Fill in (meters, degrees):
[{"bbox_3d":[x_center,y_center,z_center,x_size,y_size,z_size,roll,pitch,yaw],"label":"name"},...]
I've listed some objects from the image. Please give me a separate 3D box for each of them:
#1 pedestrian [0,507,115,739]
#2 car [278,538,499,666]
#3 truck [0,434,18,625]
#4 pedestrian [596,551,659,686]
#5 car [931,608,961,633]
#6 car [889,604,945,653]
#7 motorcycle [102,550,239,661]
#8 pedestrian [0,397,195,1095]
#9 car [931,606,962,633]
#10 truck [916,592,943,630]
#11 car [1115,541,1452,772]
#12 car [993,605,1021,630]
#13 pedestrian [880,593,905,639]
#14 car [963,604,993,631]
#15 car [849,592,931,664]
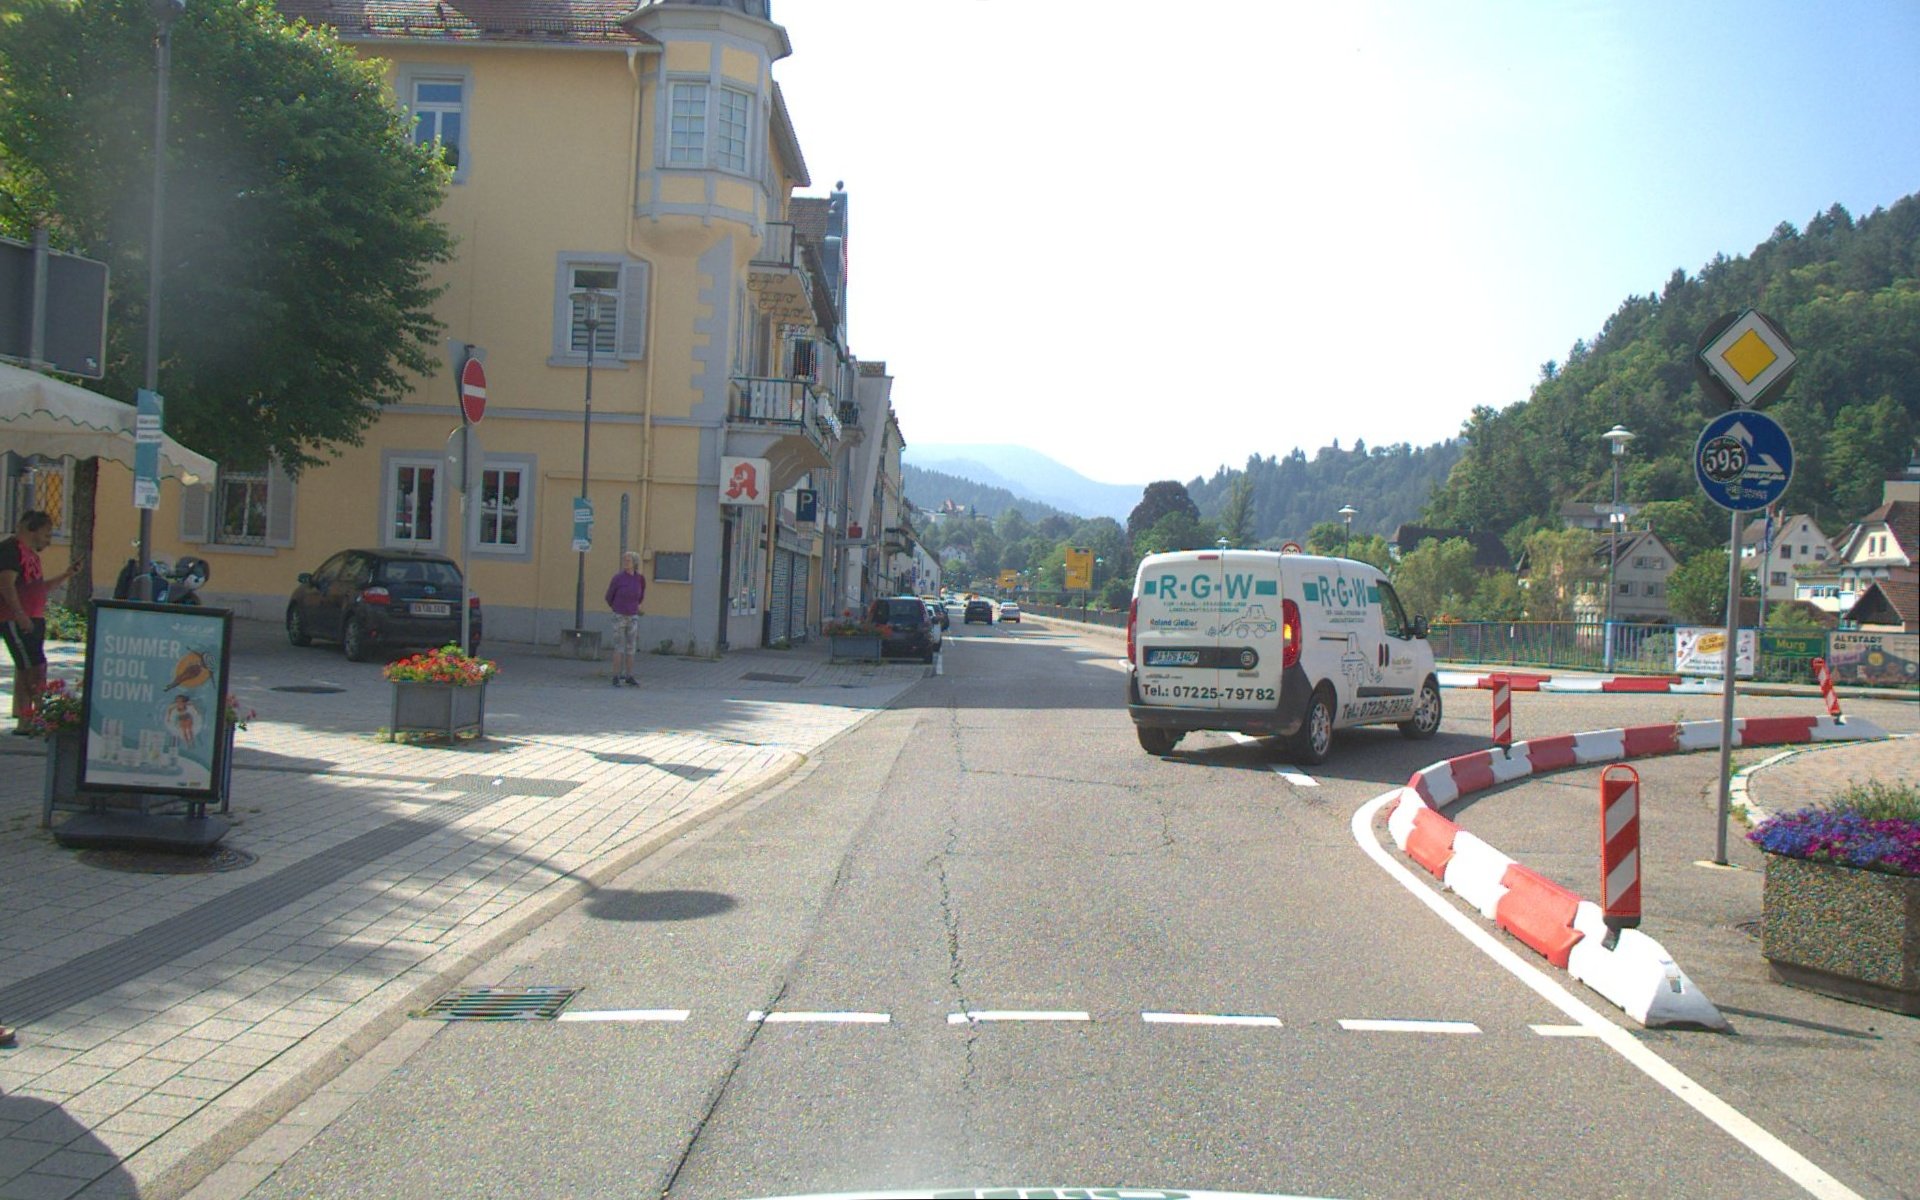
[{"bbox_3d":[-7.023,0.175,12.587,0.558,1.687,0.884,3,-2,6],"label":"pedestrian"},{"bbox_3d":[-8.392,-0.006,24.094,1.902,1.569,3.909,3,2,-37],"label":"car"},{"bbox_3d":[-18.406,-1.260,23.052,8.653,2.805,3.011,3,1,-1],"label":"truck"},{"bbox_3d":[-4.452,0.240,22.182,0.664,1.744,0.617,3,1,-3],"label":"pedestrian"},{"bbox_3d":[-0.786,1.103,89.314,1.532,1.241,3.275,2,0,-1],"label":"car"},{"bbox_3d":[-1.376,0.892,53.072,1.712,1.473,3.793,2,0,-1],"label":"car"},{"bbox_3d":[-10.727,0.040,22.559,0.867,1.384,2.088,2,2,-1],"label":"motorcycle"},{"bbox_3d":[-2.945,0.346,4.595,1.000,1.846,0.905,7,0,31],"label":"pedestrian"},{"bbox_3d":[-0.809,1.111,95.297,1.712,1.473,3.275,2,0,-1],"label":"car"},{"bbox_3d":[-2.056,0.738,111.862,1.712,2.511,4.660,2,0,-1],"label":"truck"},{"bbox_3d":[3.300,0.427,16.191,1.811,1.939,4.304,1,1,32],"label":"car"},{"bbox_3d":[3.575,1.317,125.585,1.953,1.691,4.000,3,0,0],"label":"car"},{"bbox_3d":[-2.596,0.616,63.494,0.675,1.726,0.659,1,0,27],"label":"pedestrian"},{"bbox_3d":[1.235,1.210,113.570,1.953,1.691,4.000,3,0,0],"label":"car"},{"bbox_3d":[-1.634,0.636,39.415,1.809,1.596,3.567,2,0,-1],"label":"car"}]
